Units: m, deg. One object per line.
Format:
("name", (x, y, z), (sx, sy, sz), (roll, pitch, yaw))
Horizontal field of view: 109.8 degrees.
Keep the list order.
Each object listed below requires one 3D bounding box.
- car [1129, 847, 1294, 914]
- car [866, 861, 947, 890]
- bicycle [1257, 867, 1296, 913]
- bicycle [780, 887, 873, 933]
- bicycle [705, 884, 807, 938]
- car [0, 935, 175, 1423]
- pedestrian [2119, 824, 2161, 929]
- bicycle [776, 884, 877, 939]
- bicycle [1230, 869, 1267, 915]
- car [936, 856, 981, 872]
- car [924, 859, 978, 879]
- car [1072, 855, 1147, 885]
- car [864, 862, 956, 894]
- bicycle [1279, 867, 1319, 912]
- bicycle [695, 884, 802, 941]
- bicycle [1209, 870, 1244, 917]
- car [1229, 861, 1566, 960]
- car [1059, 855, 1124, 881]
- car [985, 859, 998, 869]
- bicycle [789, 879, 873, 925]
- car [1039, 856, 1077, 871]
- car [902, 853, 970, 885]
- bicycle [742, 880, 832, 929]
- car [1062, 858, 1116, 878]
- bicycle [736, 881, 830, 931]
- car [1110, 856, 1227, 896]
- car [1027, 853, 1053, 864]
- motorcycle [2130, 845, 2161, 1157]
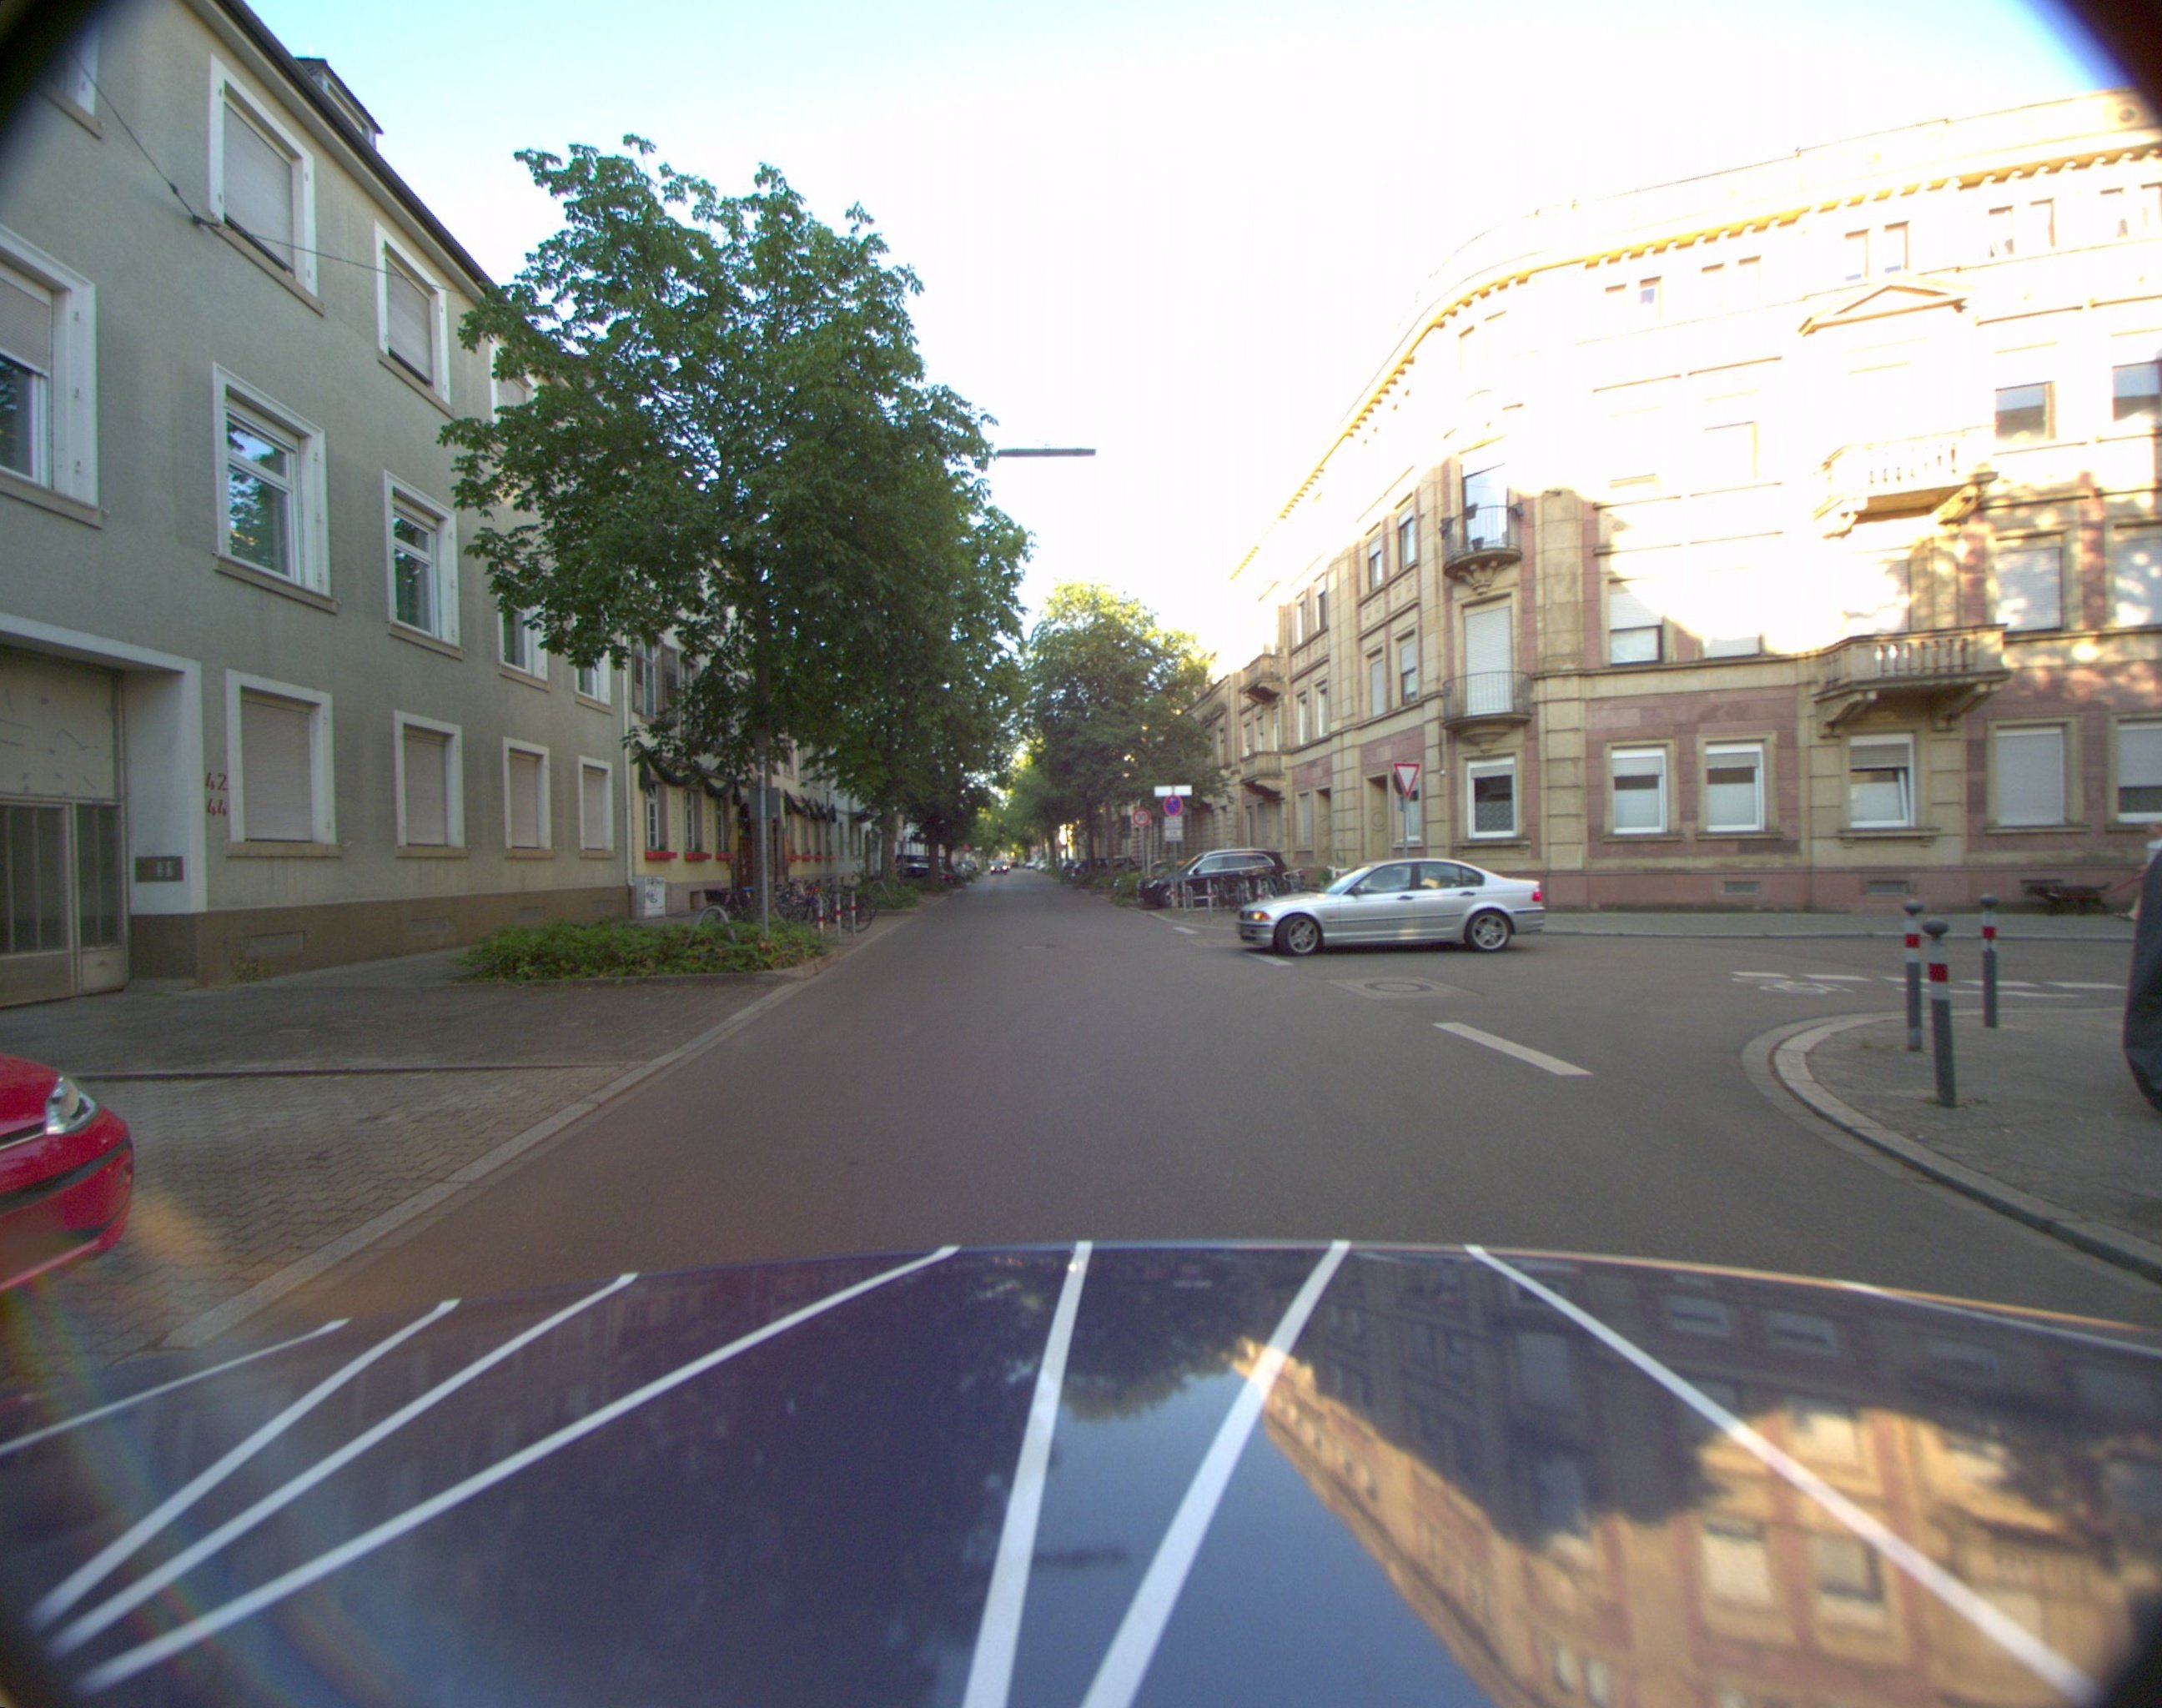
("car", (3.870, 0.750, 23.002), (4.590, 1.728, 1.775), (-3, 1, -4))
("car", (-10.379, 1.287, 45.465), (4.444, 1.603, 1.776), (-1, 0, -4))
("bicycle", (5.171, 0.925, 20.186), (0.364, 1.083, 1.869), (-3, 1, -5))
("bicycle", (-6.026, 1.323, 18.065), (2.042, 0.998, 0.421), (-1, 0, -6))
("bicycle", (-7.287, 1.265, 17.086), (2.042, 1.139, 0.421), (-1, 0, -6))
("car", (-5.155, 1.051, 1.859), (3.667, 1.467, 1.565), (0, 0, -7))
("pedestrian", (18.067, 0.371, 12.740), (0.567, 1.733, 0.551), (0, 1, 16))
("bicycle", (-5.594, 1.266, 16.763), (2.041, 1.139, 0.446), (-1, 0, -5))
("bicycle", (4.422, 0.976, 20.151), (0.364, 1.083, 1.869), (-3, 1, -5))
("car", (-12.610, 1.025, 78.407), (4.444, 1.603, 1.776), (-1, 0, -4))
("car", (-11.200, 1.294, 65.795), (4.444, 1.603, 1.776), (-1, 0, -4))
("car", (1.726, 0.971, 46.832), (4.444, 1.728, 1.776), (-1, 0, -4))
("car", (-8.925, 1.239, 39.948), (4.444, 1.496, 1.776), (-1, 0, -4))
("bicycle", (5.786, 0.914, 20.250), (0.364, 1.083, 1.869), (-3, 1, -5))
("bicycle", (-7.060, 1.244, 16.192), (2.041, 1.139, 0.446), (-1, 0, -2))
("bicycle", (3.805, 1.007, 19.987), (0.364, 1.083, 1.869), (-3, 1, -5))
("car", (4.641, 0.838, 11.667), (4.466, 1.395, 1.683), (-1, -1, 3))
("car", (0.736, 0.988, 53.795), (4.444, 1.728, 1.776), (-1, 0, -4))
("car", (-13.243, 1.463, 112.563), (1.828, 1.364, 3.998), (-1, 0, -5))
("bicycle", (-6.632, 1.260, 20.218), (2.042, 1.139, 0.421), (-1, 0, -6))
("car", (-2.809, 1.159, 92.318), (4.444, 1.638, 1.776), (-1, 0, -4))
("car", (-9.946, 1.017, 52.370), (4.444, 2.110, 1.776), (-1, 0, -4))
("bicycle", (-7.365, 1.257, 19.088), (2.042, 1.139, 0.421), (-1, 0, -6))
("car", (0.601, 1.088, 59.359), (4.032, 1.474, 1.776), (-1, 0, -4))
("bicycle", (-7.211, 1.262, 18.441), (2.042, 1.139, 0.421), (-1, 0, -6))
("car", (3.489, 0.877, 30.709), (4.444, 1.478, 1.776), (-1, 0, -4))
("car", (-6.877, 0.799, 127.629), (4.001, 1.753, 1.998), (-1, 0, -12))
("motorcycle", (6.437, 0.713, 4.016), (2.165, 1.546, 0.668), (-1, 0, -26))
